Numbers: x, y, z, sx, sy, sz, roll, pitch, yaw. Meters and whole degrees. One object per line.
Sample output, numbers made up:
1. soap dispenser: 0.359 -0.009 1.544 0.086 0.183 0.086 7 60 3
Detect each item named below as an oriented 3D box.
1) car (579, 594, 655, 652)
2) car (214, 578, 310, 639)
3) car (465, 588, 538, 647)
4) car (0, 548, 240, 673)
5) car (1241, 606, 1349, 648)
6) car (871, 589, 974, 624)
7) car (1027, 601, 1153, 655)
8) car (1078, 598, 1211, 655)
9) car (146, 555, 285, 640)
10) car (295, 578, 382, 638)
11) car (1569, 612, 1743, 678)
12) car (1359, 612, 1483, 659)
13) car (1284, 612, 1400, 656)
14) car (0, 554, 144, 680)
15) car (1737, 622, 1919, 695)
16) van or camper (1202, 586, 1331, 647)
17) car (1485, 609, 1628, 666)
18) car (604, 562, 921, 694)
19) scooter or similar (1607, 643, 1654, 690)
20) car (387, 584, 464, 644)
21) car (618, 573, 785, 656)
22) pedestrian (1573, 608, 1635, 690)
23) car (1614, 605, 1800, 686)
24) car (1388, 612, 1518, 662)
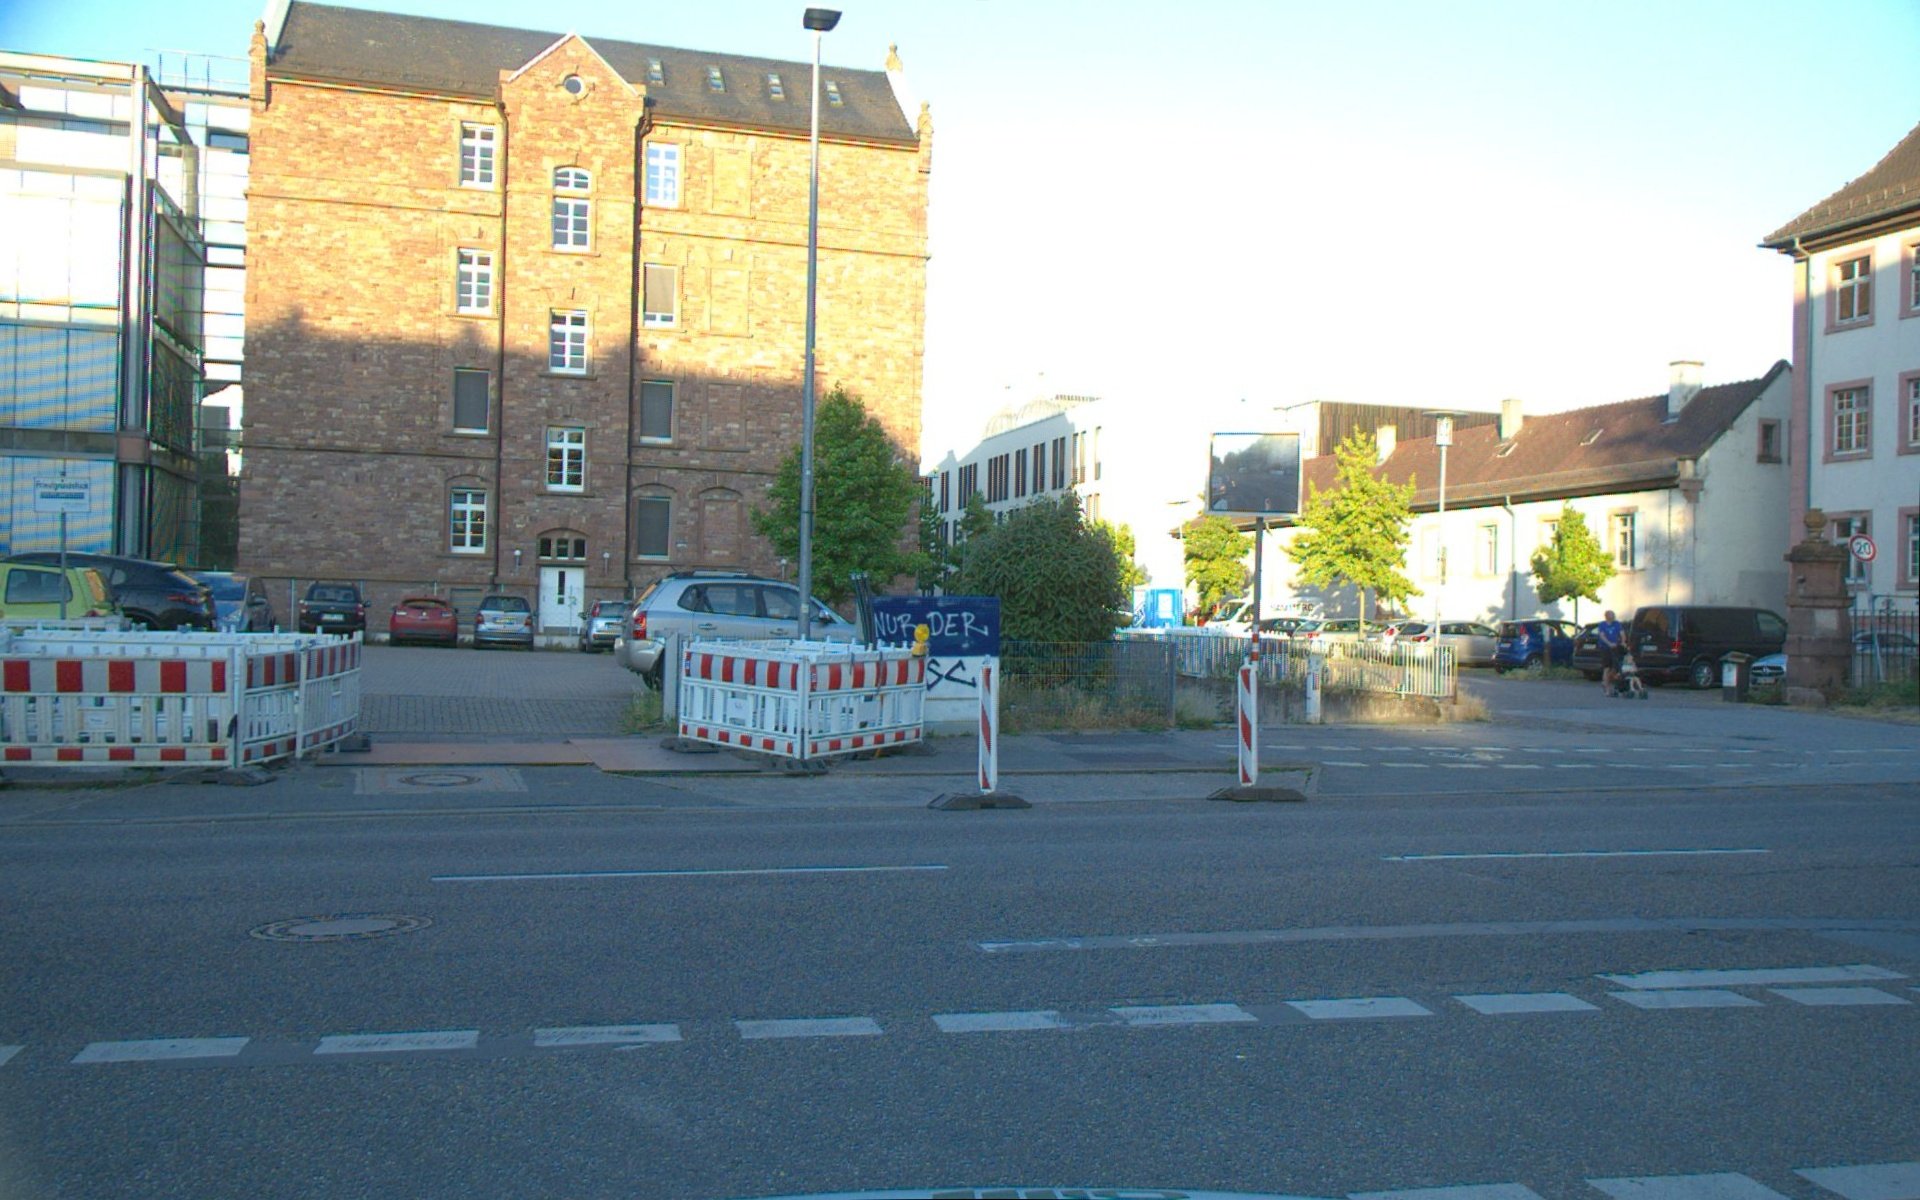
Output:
1. car: -9.989 0.622 47.949 1.865 1.564 4.161 1 0 -16
2. car: -19.148 0.216 45.512 1.865 1.564 4.161 1 0 -16
3. car: -12.988 0.461 46.886 1.865 1.564 4.161 1 0 -16
4. car: -12.713 0.134 23.244 4.507 1.666 1.569 1 0 -15
5. car: 12.638 1.011 62.483 3.685 1.471 1.677 2 -1 -20
6. car: -1.577 0.268 69.066 3.924 1.336 1.868 1 0 -18
7. car: 4.180 0.910 53.232 3.685 1.631 1.677 2 -1 -20
8. car: 5.645 0.809 50.538 3.685 1.631 1.677 1 0 -20
9. car: -15.396 -0.057 34.417 1.961 1.604 4.346 1 0 -16
10. car: -17.278 0.199 46.163 1.865 1.564 4.161 1 0 -16
11. car: 18.262 1.176 43.453 3.928 1.600 1.988 2 -1 -20
12. car: 15.270 1.173 54.849 3.685 1.471 1.677 2 -1 -20
13. car: 13.502 1.206 58.507 3.685 1.471 1.677 2 -1 -20
14. car: -12.402 0.193 20.771 3.571 1.530 1.631 1 0 -15
15. car: 19.280 1.264 36.130 3.928 1.484 1.988 2 -1 -20
16. van or camper: 12.213 0.670 65.877 4.889 2.280 1.677 2 -1 -20
17. car: 17.237 1.083 47.793 3.685 1.556 1.677 2 -1 -20
18. car: -2.801 0.406 23.369 4.202 1.738 1.694 1 0 -18
19. scooter or similar: 13.614 1.344 33.602 0.505 0.906 0.803 2 -1 -16
20. car: -14.931 0.364 46.369 1.865 1.564 4.161 1 0 -16
21. car: -5.732 0.315 36.578 3.421 1.738 1.660 1 0 -18
22. pedestrian: 13.462 1.016 34.586 0.737 1.671 1.010 1 -1 -15
23. car: 18.404 1.123 40.783 3.928 1.891 1.988 2 -1 -20
24. car: 15.575 1.163 52.270 3.685 1.471 1.677 2 -1 -20
